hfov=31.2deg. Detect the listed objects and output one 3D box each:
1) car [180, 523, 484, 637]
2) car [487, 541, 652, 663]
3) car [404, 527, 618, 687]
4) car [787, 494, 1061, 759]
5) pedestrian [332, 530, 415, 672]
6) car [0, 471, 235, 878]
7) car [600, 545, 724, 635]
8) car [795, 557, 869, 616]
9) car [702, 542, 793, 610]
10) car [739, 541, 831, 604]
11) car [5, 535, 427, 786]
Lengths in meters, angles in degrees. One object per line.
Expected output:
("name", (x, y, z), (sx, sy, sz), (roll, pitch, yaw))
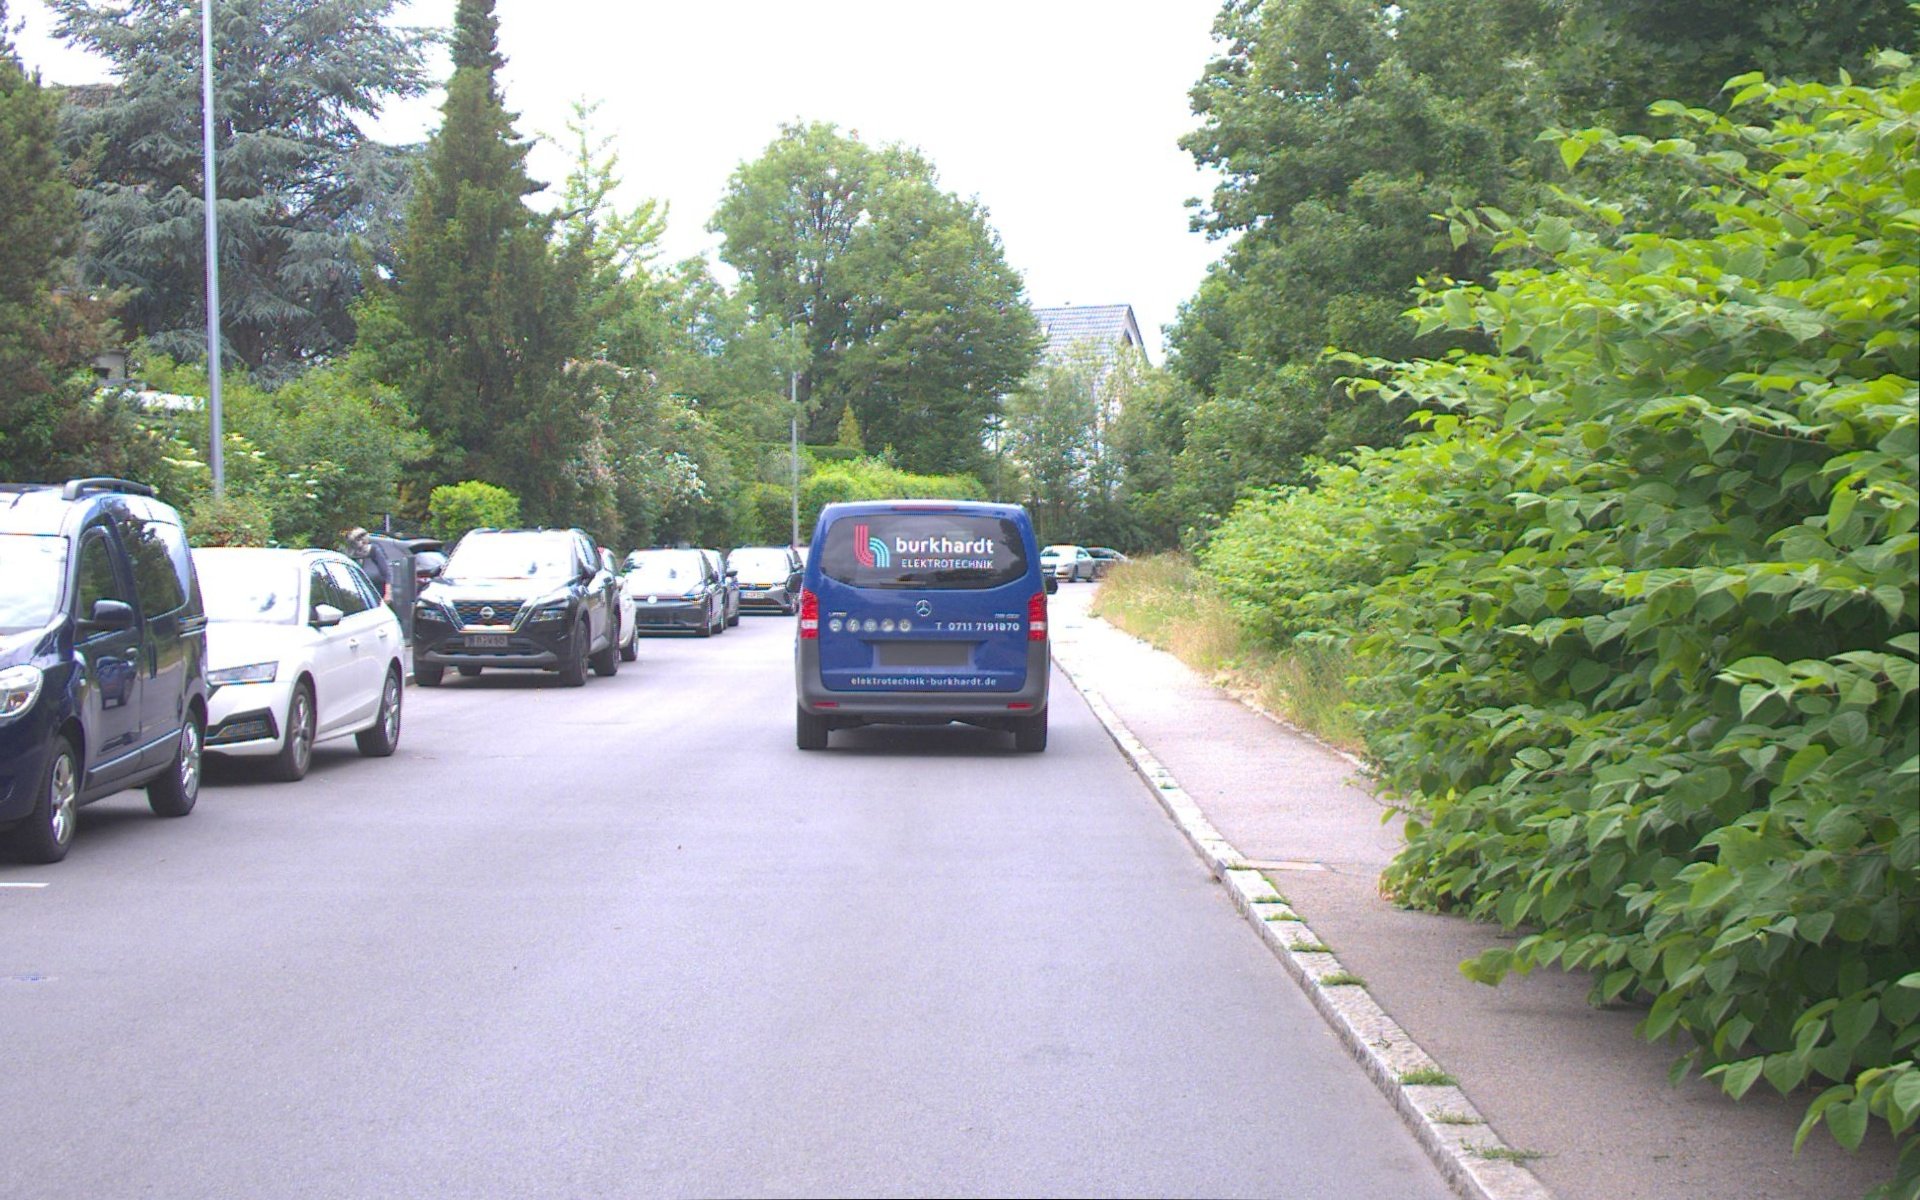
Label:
("car", (-9.280, -0.313, 50.891), (3.990, 1.542, 1.840), (2, 1, 15))
("car", (-5.057, -0.008, 44.898), (1.707, 1.506, 3.946), (0, 1, 0))
("car", (-4.899, 0.028, 38.065), (1.791, 1.658, 4.392), (0, 1, 0))
("car", (-0.304, 0.146, 26.775), (1.936, 1.873, 4.531), (0, 1, -1))
("pedestrian", (-6.578, 0.002, 38.576), (0.769, 1.569, 0.820), (0, 1, 1))
("car", (-4.989, 0.281, 17.307), (1.707, 1.793, 4.298), (0, 1, 1))
("car", (-4.934, -0.192, 57.368), (1.707, 1.411, 4.150), (0, 1, 0))
("car", (-3.453, -0.382, 93.200), (1.544, 1.509, 3.643), (1, 1, 5))
("car", (-4.569, -0.538, 74.420), (1.707, 1.405, 4.161), (0, 1, 0))
("car", (-4.312, -0.705, 85.381), (1.707, 1.509, 4.363), (1, 1, 5))
("car", (-4.869, 0.326, 23.123), (1.707, 1.506, 4.554), (1, 1, 2))
